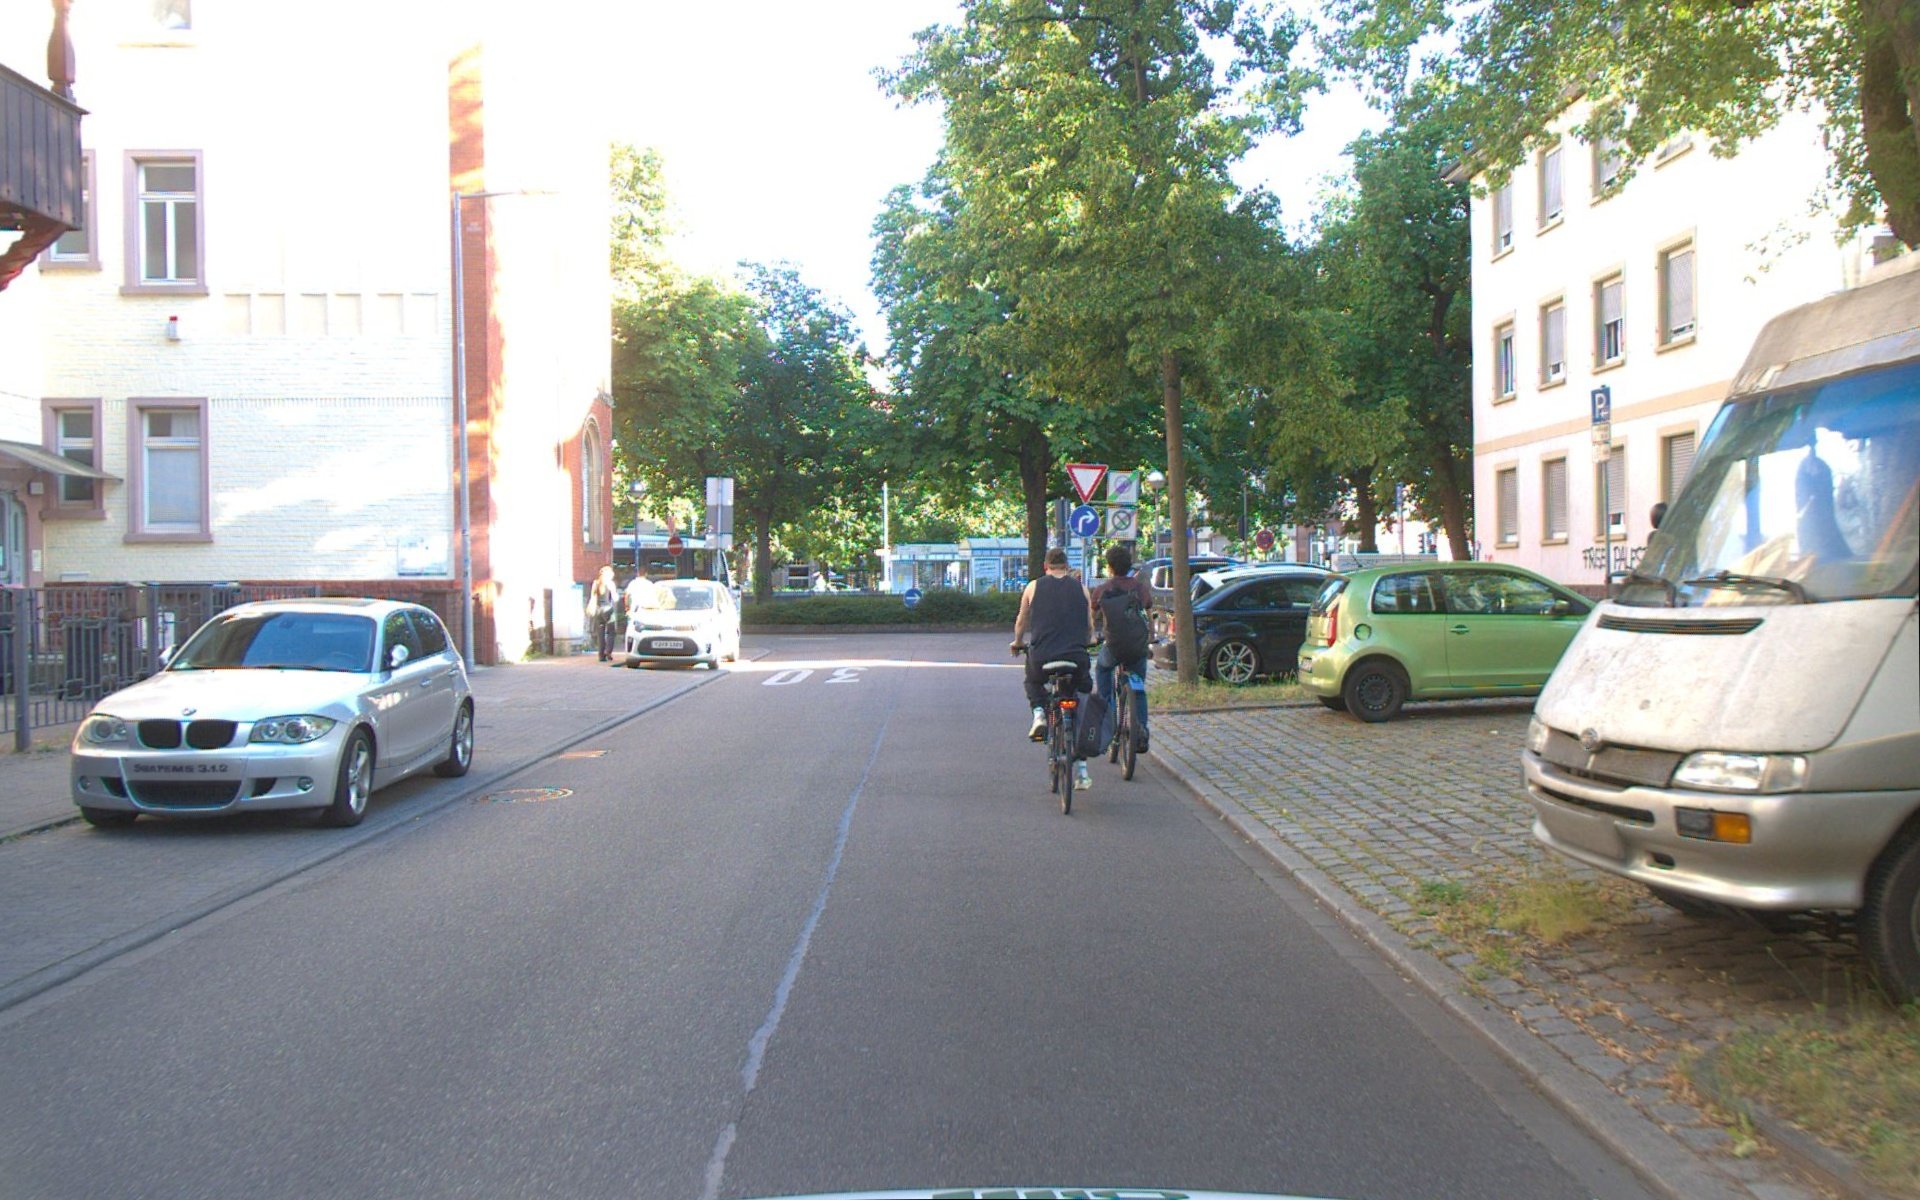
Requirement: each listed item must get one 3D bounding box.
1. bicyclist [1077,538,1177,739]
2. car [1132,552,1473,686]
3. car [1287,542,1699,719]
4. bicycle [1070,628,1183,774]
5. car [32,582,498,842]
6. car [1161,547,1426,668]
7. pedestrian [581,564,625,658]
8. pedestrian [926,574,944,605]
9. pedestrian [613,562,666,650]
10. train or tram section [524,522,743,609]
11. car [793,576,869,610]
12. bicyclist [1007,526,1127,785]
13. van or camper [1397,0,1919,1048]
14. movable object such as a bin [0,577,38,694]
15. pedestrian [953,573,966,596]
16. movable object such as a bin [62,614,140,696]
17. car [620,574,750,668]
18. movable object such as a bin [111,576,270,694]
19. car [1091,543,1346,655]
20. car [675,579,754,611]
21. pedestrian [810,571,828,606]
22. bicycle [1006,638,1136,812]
[{"bbox_3d":[1.326,0.298,13.285,0.658,1.541,1.069,-1,0,-1],"label":"bicyclist"},{"bbox_3d":[4.393,0.223,21.656,4.022,1.436,1.792,-4,1,-1],"label":"car"},{"bbox_3d":[5.184,0.265,16.396,3.516,1.531,1.678,-2,1,0],"label":"car"},{"bbox_3d":[1.321,0.778,13.487,0.660,1.072,2.060,-1,-1,-1],"label":"bicycle"},{"bbox_3d":[-4.613,0.627,11.679,1.709,1.492,4.101,0,1,-3],"label":"car"},{"bbox_3d":[4.850,0.092,24.440,3.616,1.679,1.705,-1,1,3],"label":"car"},{"bbox_3d":[-6.287,0.187,29.166,0.588,1.633,0.854,-1,1,-2],"label":"pedestrian"},{"bbox_3d":[-1.306,-0.558,85.833,0.795,1.570,0.818,1,0,-12],"label":"pedestrian"},{"bbox_3d":[-6.233,0.112,32.182,0.849,1.672,0.860,-1,1,-1],"label":"pedestrian"},{"bbox_3d":[-13.194,-1.353,66.948,8.304,3.233,2.841,1,1,-24],"label":"train or tram section"},{"bbox_3d":[-7.407,-0.416,94.910,3.939,1.903,1.983,-1,1,-27],"label":"car"},{"bbox_3d":[0.727,0.361,11.462,0.737,1.711,0.913,-1,1,-1],"label":"bicyclist"},{"bbox_3d":[5.501,-0.303,6.394,6.936,3.131,2.463,-1,1,-4],"label":"van or camper"},{"bbox_3d":[-11.577,0.402,19.205,1.354,1.340,0.686,0,1,-8],"label":"movable object such as a bin"},{"bbox_3d":[-0.040,-1.160,124.068,0.980,1.659,1.064,-1,1,-2],"label":"pedestrian"},{"bbox_3d":[-9.711,0.610,18.719,0.470,0.894,0.673,0,1,9],"label":"movable object such as a bin"},{"bbox_3d":[-4.809,0.325,29.389,1.670,1.511,3.797,1,1,-1],"label":"car"},{"bbox_3d":[-8.891,0.384,19.143,1.346,1.321,0.969,0,1,9],"label":"movable object such as a bin"},{"bbox_3d":[4.474,-0.052,29.038,4.026,1.742,2.022,-2,2,-5],"label":"car"},{"bbox_3d":[-13.416,-0.289,90.670,3.920,1.708,1.922,-2,1,-45],"label":"car"},{"bbox_3d":[-7.077,-0.584,83.186,0.692,1.724,0.666,1,0,-23],"label":"pedestrian"},{"bbox_3d":[0.732,0.817,11.500,0.722,1.030,2.061,1,0,-1],"label":"bicycle"}]
